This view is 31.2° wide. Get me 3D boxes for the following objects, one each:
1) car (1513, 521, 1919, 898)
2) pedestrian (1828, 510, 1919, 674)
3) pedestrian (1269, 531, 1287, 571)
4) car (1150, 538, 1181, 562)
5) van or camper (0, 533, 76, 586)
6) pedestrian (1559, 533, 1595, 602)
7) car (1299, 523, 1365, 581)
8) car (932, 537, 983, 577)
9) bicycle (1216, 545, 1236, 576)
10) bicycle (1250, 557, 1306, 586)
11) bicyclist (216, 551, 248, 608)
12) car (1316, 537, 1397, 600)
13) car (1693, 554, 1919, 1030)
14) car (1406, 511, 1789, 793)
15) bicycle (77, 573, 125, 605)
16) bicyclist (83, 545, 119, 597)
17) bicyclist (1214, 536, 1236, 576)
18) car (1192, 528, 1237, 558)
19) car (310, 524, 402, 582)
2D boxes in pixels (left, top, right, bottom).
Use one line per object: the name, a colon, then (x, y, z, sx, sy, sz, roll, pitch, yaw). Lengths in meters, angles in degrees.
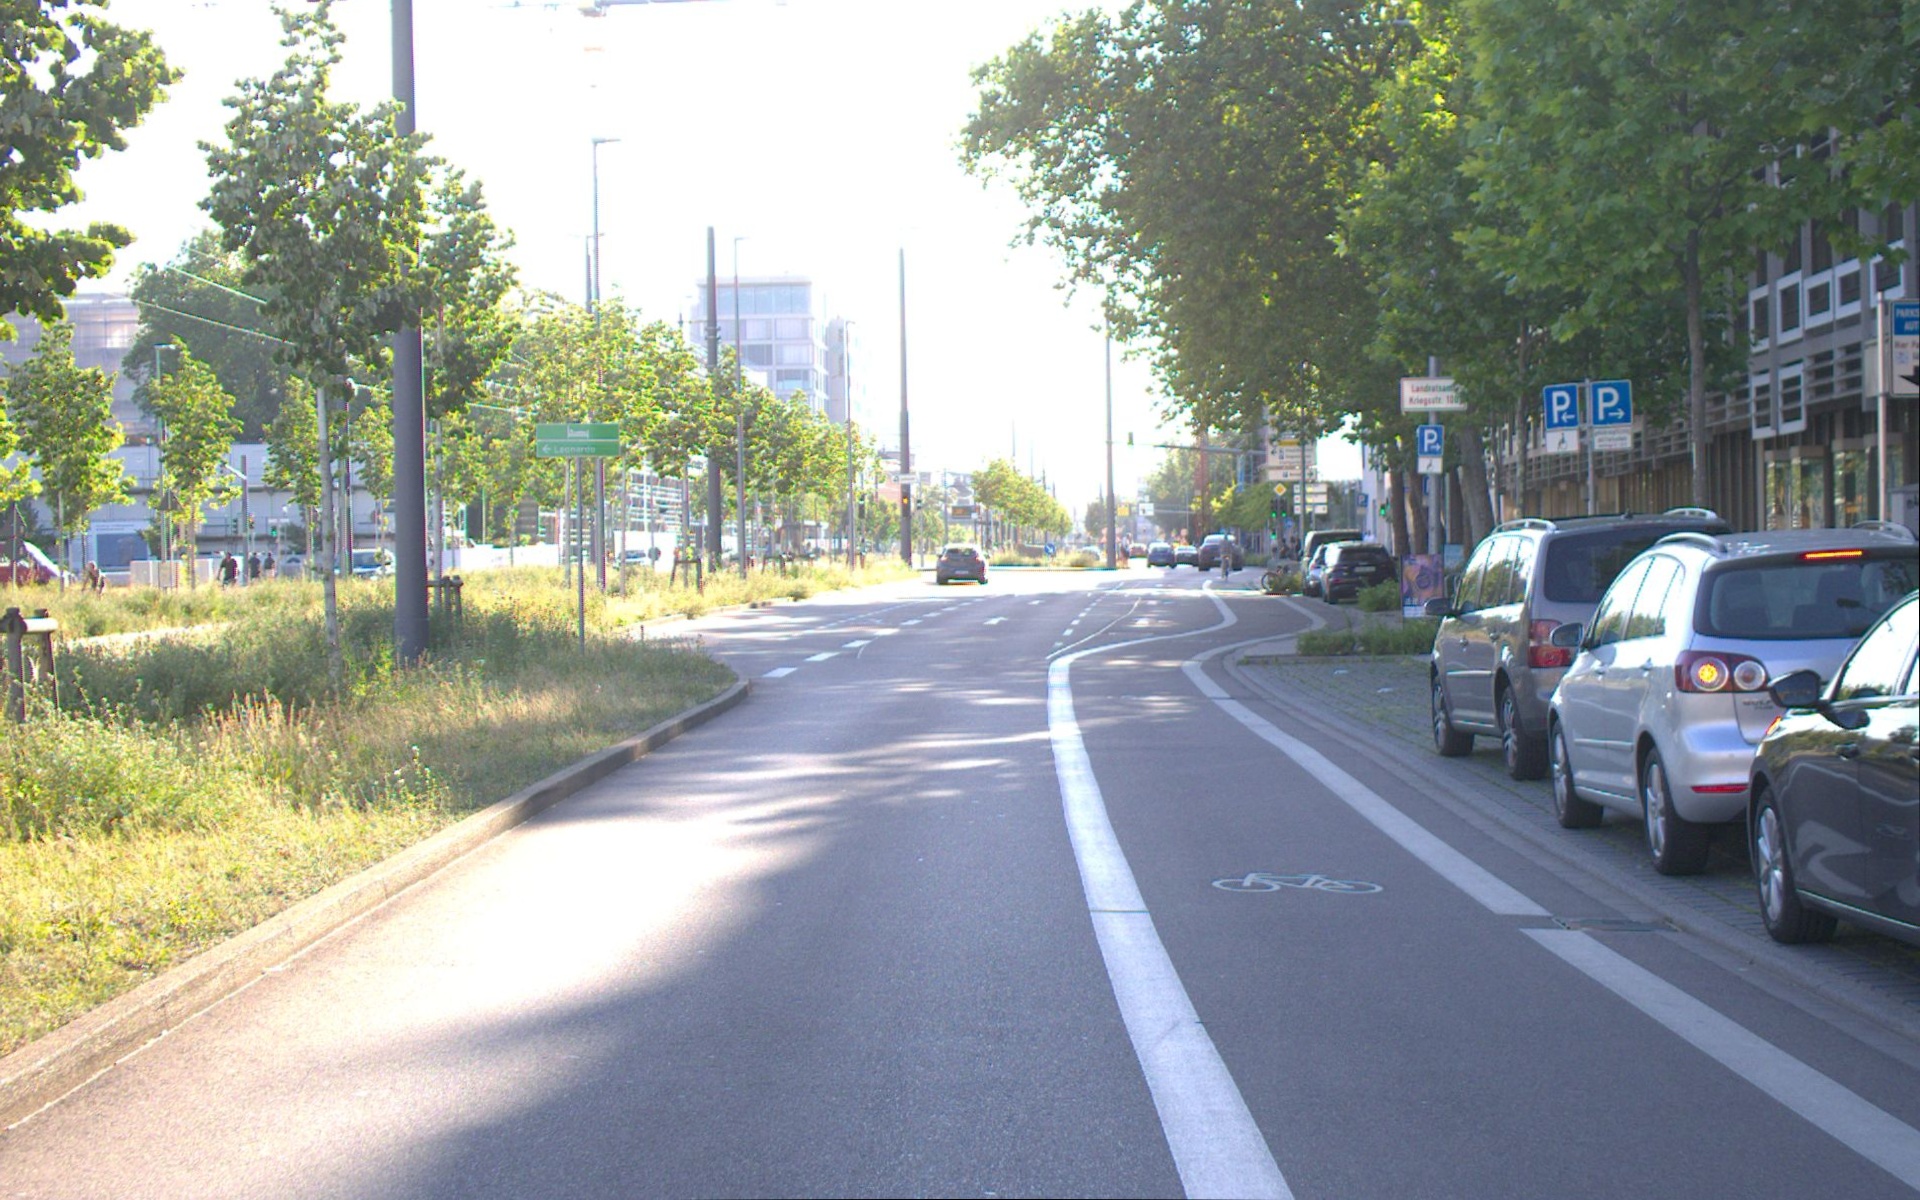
car: (4.054, 0.447, 17.502, 1.728, 1.616, 4.216, -3, 1, 0)
pedestrian: (9.471, -0.089, 35.340, 0.789, 1.643, 1.137, -2, 1, 1)
pedestrian: (12.890, -2.003, 139.403, 0.634, 1.602, 0.570, -2, 1, 4)
car: (12.911, -3.173, 216.312, 1.759, 1.479, 3.850, -1, 1, 1)
van or camper: (-44.174, -1.873, 159.602, 5.661, 2.406, 2.154, -1, 1, 5)
pedestrian: (16.666, -0.886, 92.882, 0.831, 1.850, 0.847, 0, 1, 3)
car: (10.447, -1.375, 96.414, 1.682, 1.509, 5.058, -3, 1, 7)
car: (-0.081, -1.583, 125.448, 1.777, 1.423, 4.000, 0, 1, 1)
bicycle: (10.575, -1.588, 136.686, 0.800, 1.200, 2.263, 0, 1, 5)
bicycle: (10.261, -0.925, 110.907, 1.693, 0.864, 0.572, -2, 1, 12)
bicyclist: (-21.982, -0.629, 103.860, 0.687, 1.702, 0.954, -1, 1, 3)
car: (9.716, -0.788, 84.459, 1.706, 1.413, 4.276, -3, 1, 4)
car: (3.929, 0.580, 12.029, 1.794, 1.444, 4.376, -3, 1, 1)
car: (4.267, 0.277, 23.695, 1.728, 1.682, 4.515, -3, 1, 0)
bicycle: (-22.639, -0.289, 90.645, 0.687, 0.801, 2.145, -1, 1, 1)
bicyclist: (-22.640, -0.773, 90.636, 0.687, 1.342, 0.871, -1, 1, 1)
bicyclist: (10.517, -1.759, 136.619, 0.800, 1.596, 0.785, 0, 1, 1)
car: (12.182, -2.742, 164.659, 1.940, 1.423, 3.925, -1, 1, 1)
car: (-18.947, -1.490, 107.994, 1.871, 1.759, 4.813, -1, 1, 2)
